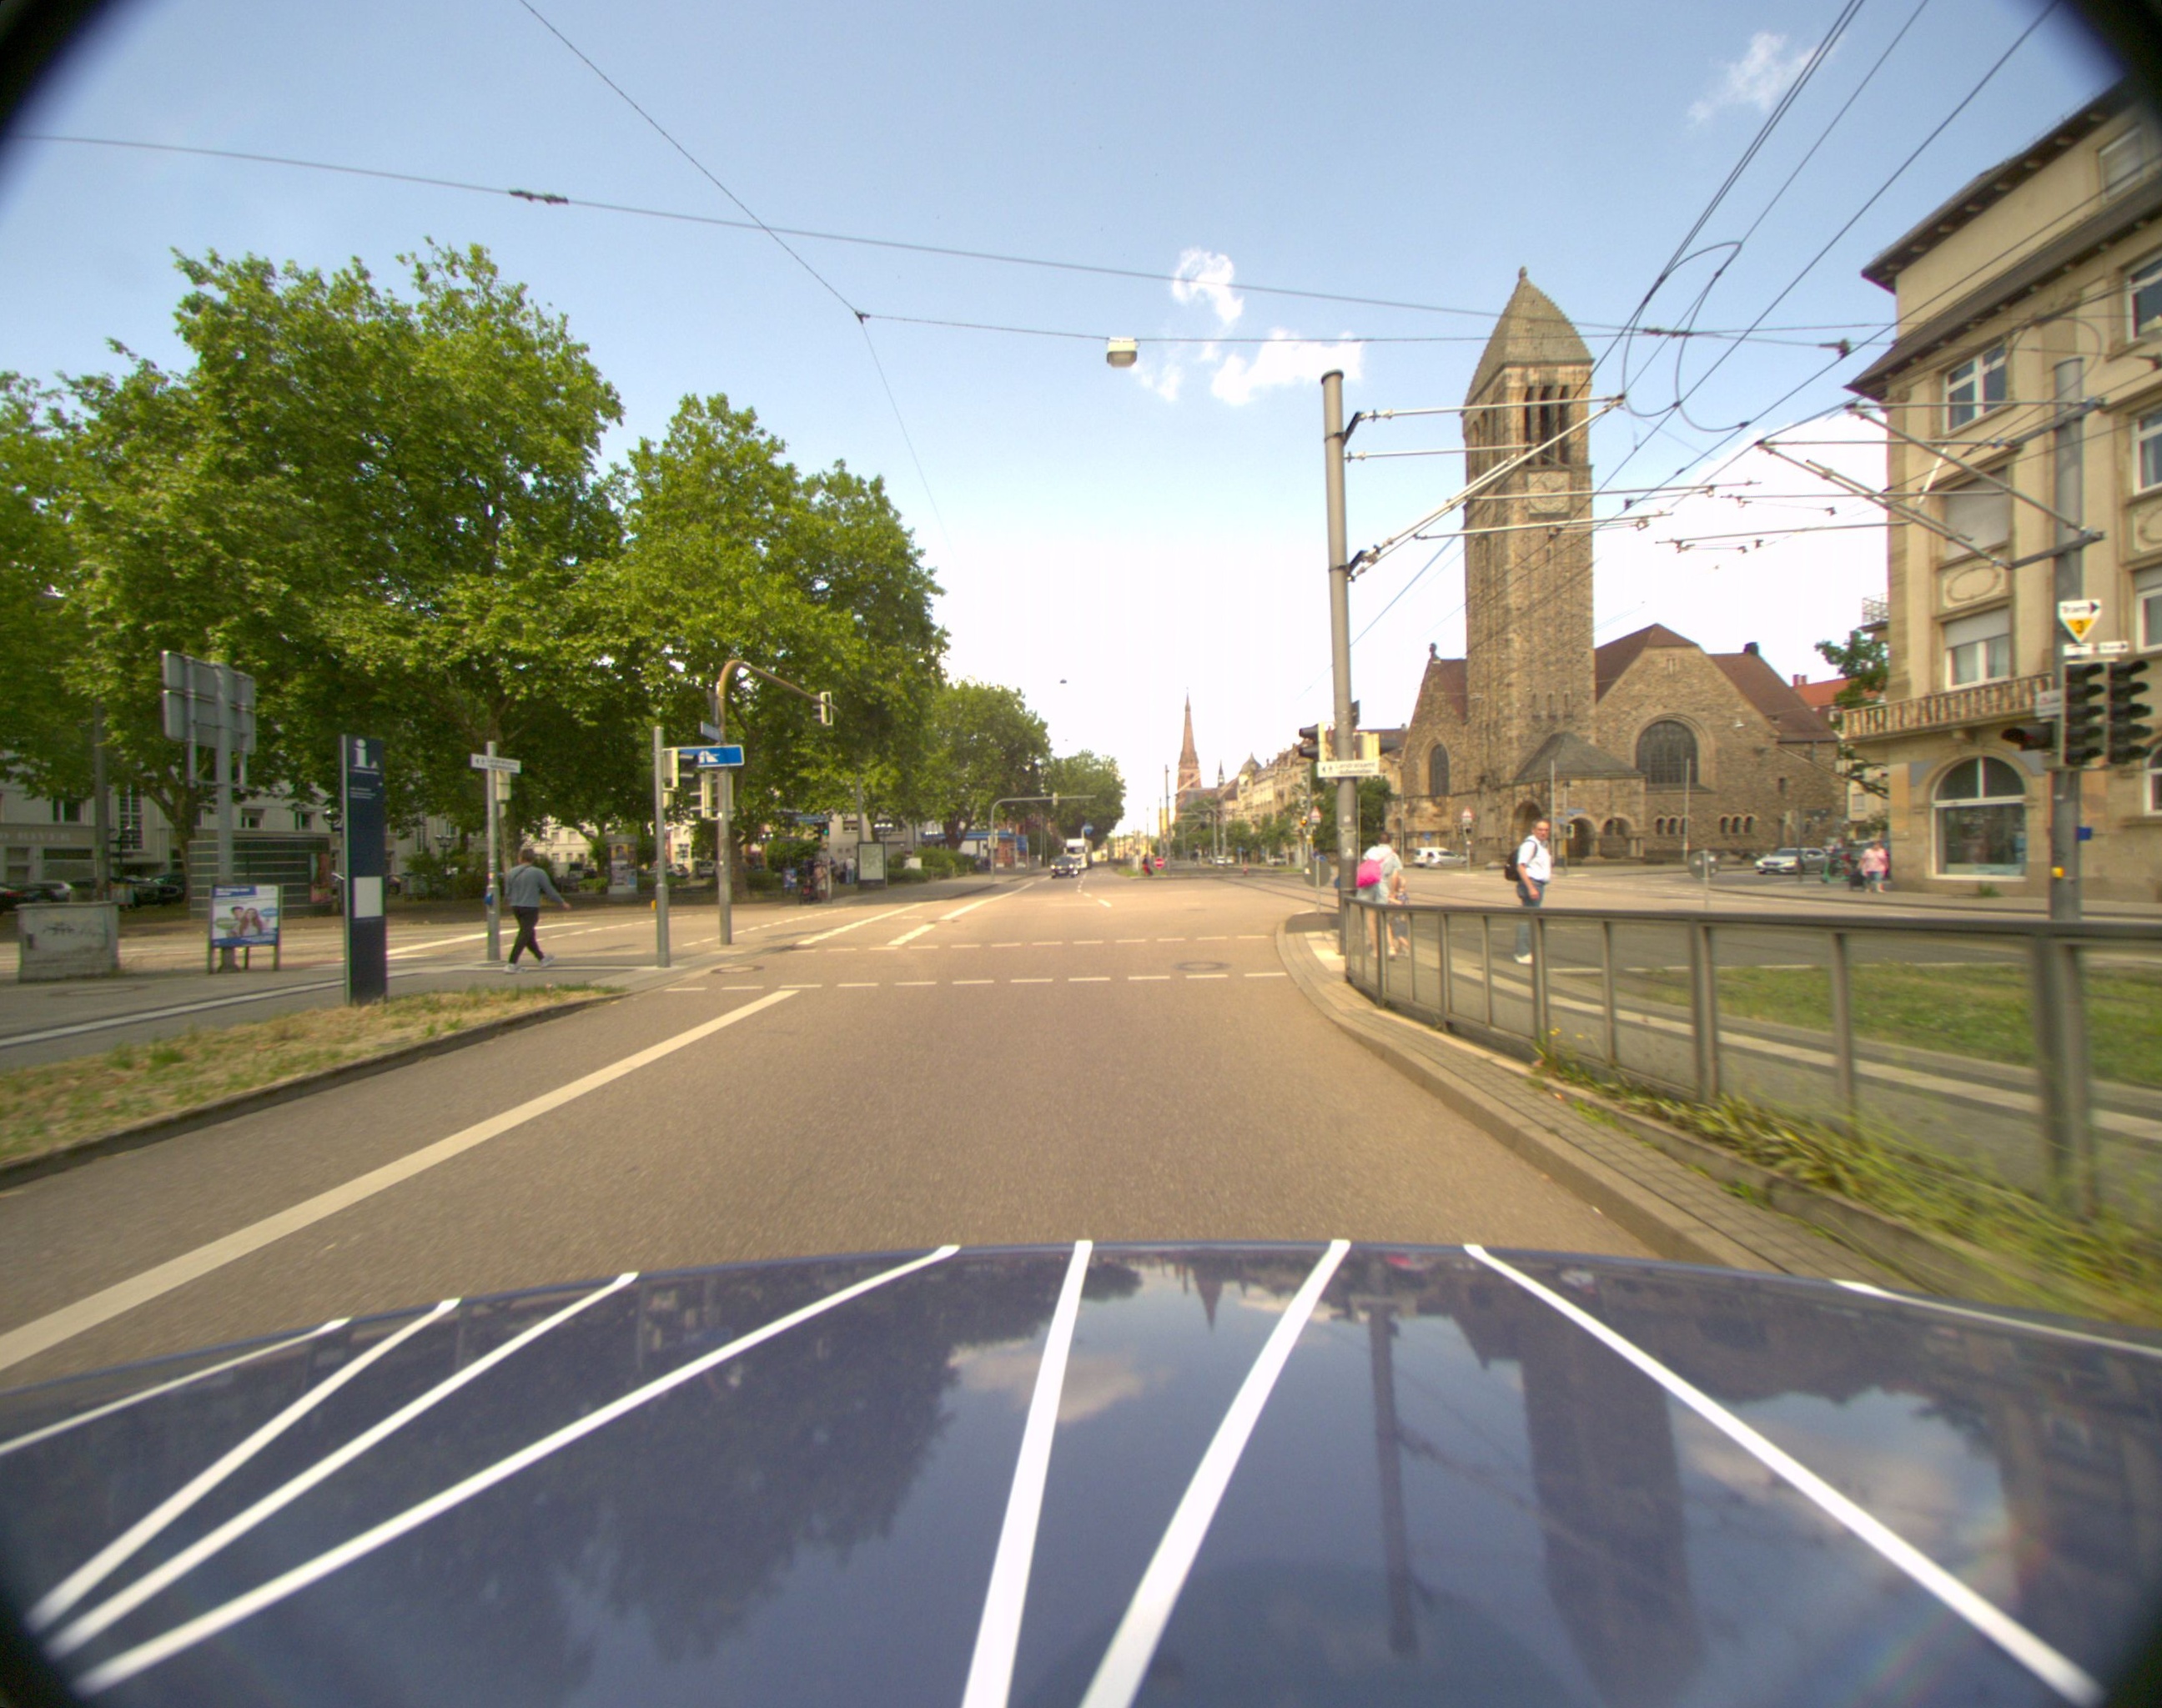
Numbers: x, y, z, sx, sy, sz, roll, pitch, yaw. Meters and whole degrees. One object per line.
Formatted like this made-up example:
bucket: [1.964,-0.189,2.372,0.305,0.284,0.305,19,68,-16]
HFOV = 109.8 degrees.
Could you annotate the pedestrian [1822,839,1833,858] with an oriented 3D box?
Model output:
pedestrian: [57.099,-0.439,58.124,0.557,1.447,0.465,-1,1,-29]

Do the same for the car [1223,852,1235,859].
car: [26.687,0.209,136.863,1.654,1.226,3.064,-2,0,1]

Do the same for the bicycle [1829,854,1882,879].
bicycle: [33.408,0.563,32.790,0.463,1.045,1.482,-1,-2,-23]

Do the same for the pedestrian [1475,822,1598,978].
pedestrian: [5.485,0.523,9.224,0.850,1.770,1.045,-1,1,1]

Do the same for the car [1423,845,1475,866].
car: [31.667,0.146,65.437,3.635,1.668,1.819,0,-1,-2]

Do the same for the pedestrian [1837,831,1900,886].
pedestrian: [23.890,0.144,23.067,0.997,1.584,0.943,-1,-3,-23]

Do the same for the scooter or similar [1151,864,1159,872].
scooter or similar: [5.070,0.959,52.018,0.521,0.532,0.310,1,0,-11]

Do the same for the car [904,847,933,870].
car: [-17.609,0.462,82.520,2.111,2.406,4.000,-1,1,2]

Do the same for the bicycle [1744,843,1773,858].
bicycle: [55.937,-0.312,62.716,0.586,1.106,1.938,-1,3,-2]

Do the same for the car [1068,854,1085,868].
car: [-0.497,0.745,82.842,1.685,1.554,3.753,-1,0,1]

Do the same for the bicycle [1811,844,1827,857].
bicycle: [56.852,-0.268,58.551,1.445,1.046,0.479,-1,0,-29]

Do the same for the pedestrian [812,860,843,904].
pedestrian: [-9.756,1.069,29.233,0.925,1.636,0.568,-2,1,-41]

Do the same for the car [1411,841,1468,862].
car: [32.444,-0.234,68.850,4.302,1.842,2.000,0,-1,1]

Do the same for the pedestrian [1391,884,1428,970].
pedestrian: [4.255,0.933,9.834,0.419,1.057,0.437,-1,1,24]

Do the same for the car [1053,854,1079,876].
car: [-1.190,0.856,61.419,1.853,1.716,4.419,-1,0,2]

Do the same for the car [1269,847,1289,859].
car: [26.107,-0.066,100.250,1.788,1.486,3.838,-2,0,1]

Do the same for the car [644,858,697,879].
car: [-38.837,1.368,71.944,3.996,1.790,1.869,-1,1,3]

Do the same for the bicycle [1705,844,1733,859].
bicycle: [52.671,-0.233,62.719,0.586,1.106,1.938,-1,3,-2]

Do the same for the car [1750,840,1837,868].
car: [39.339,-0.046,41.961,4.391,1.440,1.824,-1,2,-23]

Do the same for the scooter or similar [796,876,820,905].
scooter or similar: [-10.336,1.376,28.730,0.710,1.050,0.489,-1,1,-41]

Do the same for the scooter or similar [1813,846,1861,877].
scooter or similar: [29.172,0.302,29.320,0.481,1.139,1.253,-2,-2,-6]

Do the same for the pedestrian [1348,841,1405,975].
pedestrian: [3.821,0.667,9.810,0.624,1.656,0.677,-1,1,25]

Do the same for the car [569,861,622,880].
car: [-46.932,1.622,73.493,3.996,1.670,1.855,-1,1,3]

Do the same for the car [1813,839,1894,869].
car: [40.103,-0.028,39.431,3.822,1.425,1.715,-2,1,-24]

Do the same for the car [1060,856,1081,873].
car: [-0.889,0.894,68.978,1.733,1.457,4.327,-1,0,1]

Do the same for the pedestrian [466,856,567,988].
pedestrian: [-7.908,0.918,10.679,0.694,1.773,0.887,-1,1,3]

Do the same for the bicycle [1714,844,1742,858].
bicycle: [53.387,-0.250,62.733,0.586,1.106,1.938,-1,3,-2]

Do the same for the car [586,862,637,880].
car: [-46.972,1.669,76.130,3.996,1.652,1.754,-1,1,3]

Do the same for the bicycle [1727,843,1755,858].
bicycle: [54.384,-0.273,62.611,0.586,1.106,1.938,-1,3,-2]

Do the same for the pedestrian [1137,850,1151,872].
pedestrian: [4.302,0.488,51.741,0.776,1.483,0.657,0,0,-11]

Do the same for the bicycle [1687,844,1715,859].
bicycle: [51.098,-0.194,62.634,0.586,1.106,1.938,-1,3,-2]

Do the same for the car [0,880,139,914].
car: [-47.750,2.003,35.911,3.996,1.414,2.000,-1,0,1]

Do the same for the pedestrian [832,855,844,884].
pedestrian: [-14.634,0.912,45.692,0.606,1.740,0.697,-1,1,-23]

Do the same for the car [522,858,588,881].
car: [-47.243,1.385,68.282,4.487,1.894,2.104,-1,1,3]

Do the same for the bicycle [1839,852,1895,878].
bicycle: [32.902,0.487,31.829,0.481,1.045,1.581,-1,-2,-16]

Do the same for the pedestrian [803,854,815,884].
pedestrian: [-16.367,0.901,45.682,0.606,1.740,0.697,-1,1,-23]

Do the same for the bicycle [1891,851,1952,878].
bicycle: [33.864,0.447,30.630,0.481,1.045,1.581,-1,-2,-16]

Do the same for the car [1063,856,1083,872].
car: [-0.779,1.008,76.808,1.853,1.438,3.973,-1,1,2]

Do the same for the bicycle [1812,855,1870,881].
bicycle: [32.088,0.607,32.120,0.531,1.045,1.736,-1,-2,-7]

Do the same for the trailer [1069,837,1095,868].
trailer: [0.231,-0.211,107.586,2.914,4.054,11.653,-1,0,4]

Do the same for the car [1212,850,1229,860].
car: [21.272,0.188,115.920,1.819,1.497,4.132,-2,0,2]

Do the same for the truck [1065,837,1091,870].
truck: [-0.313,-0.146,99.955,2.914,4.125,6.592,-1,1,4]

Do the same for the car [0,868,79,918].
car: [-47.566,1.737,33.557,3.996,2.064,2.000,-1,0,1]

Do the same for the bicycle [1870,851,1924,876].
bicycle: [34.996,0.405,32.596,0.463,1.045,1.481,0,-2,-27]

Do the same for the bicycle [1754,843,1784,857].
bicycle: [56.741,-0.331,62.702,0.586,1.106,1.938,-1,3,-2]

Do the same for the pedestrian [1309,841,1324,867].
pedestrian: [15.769,0.026,50.813,0.772,1.721,0.744,-1,1,1]
